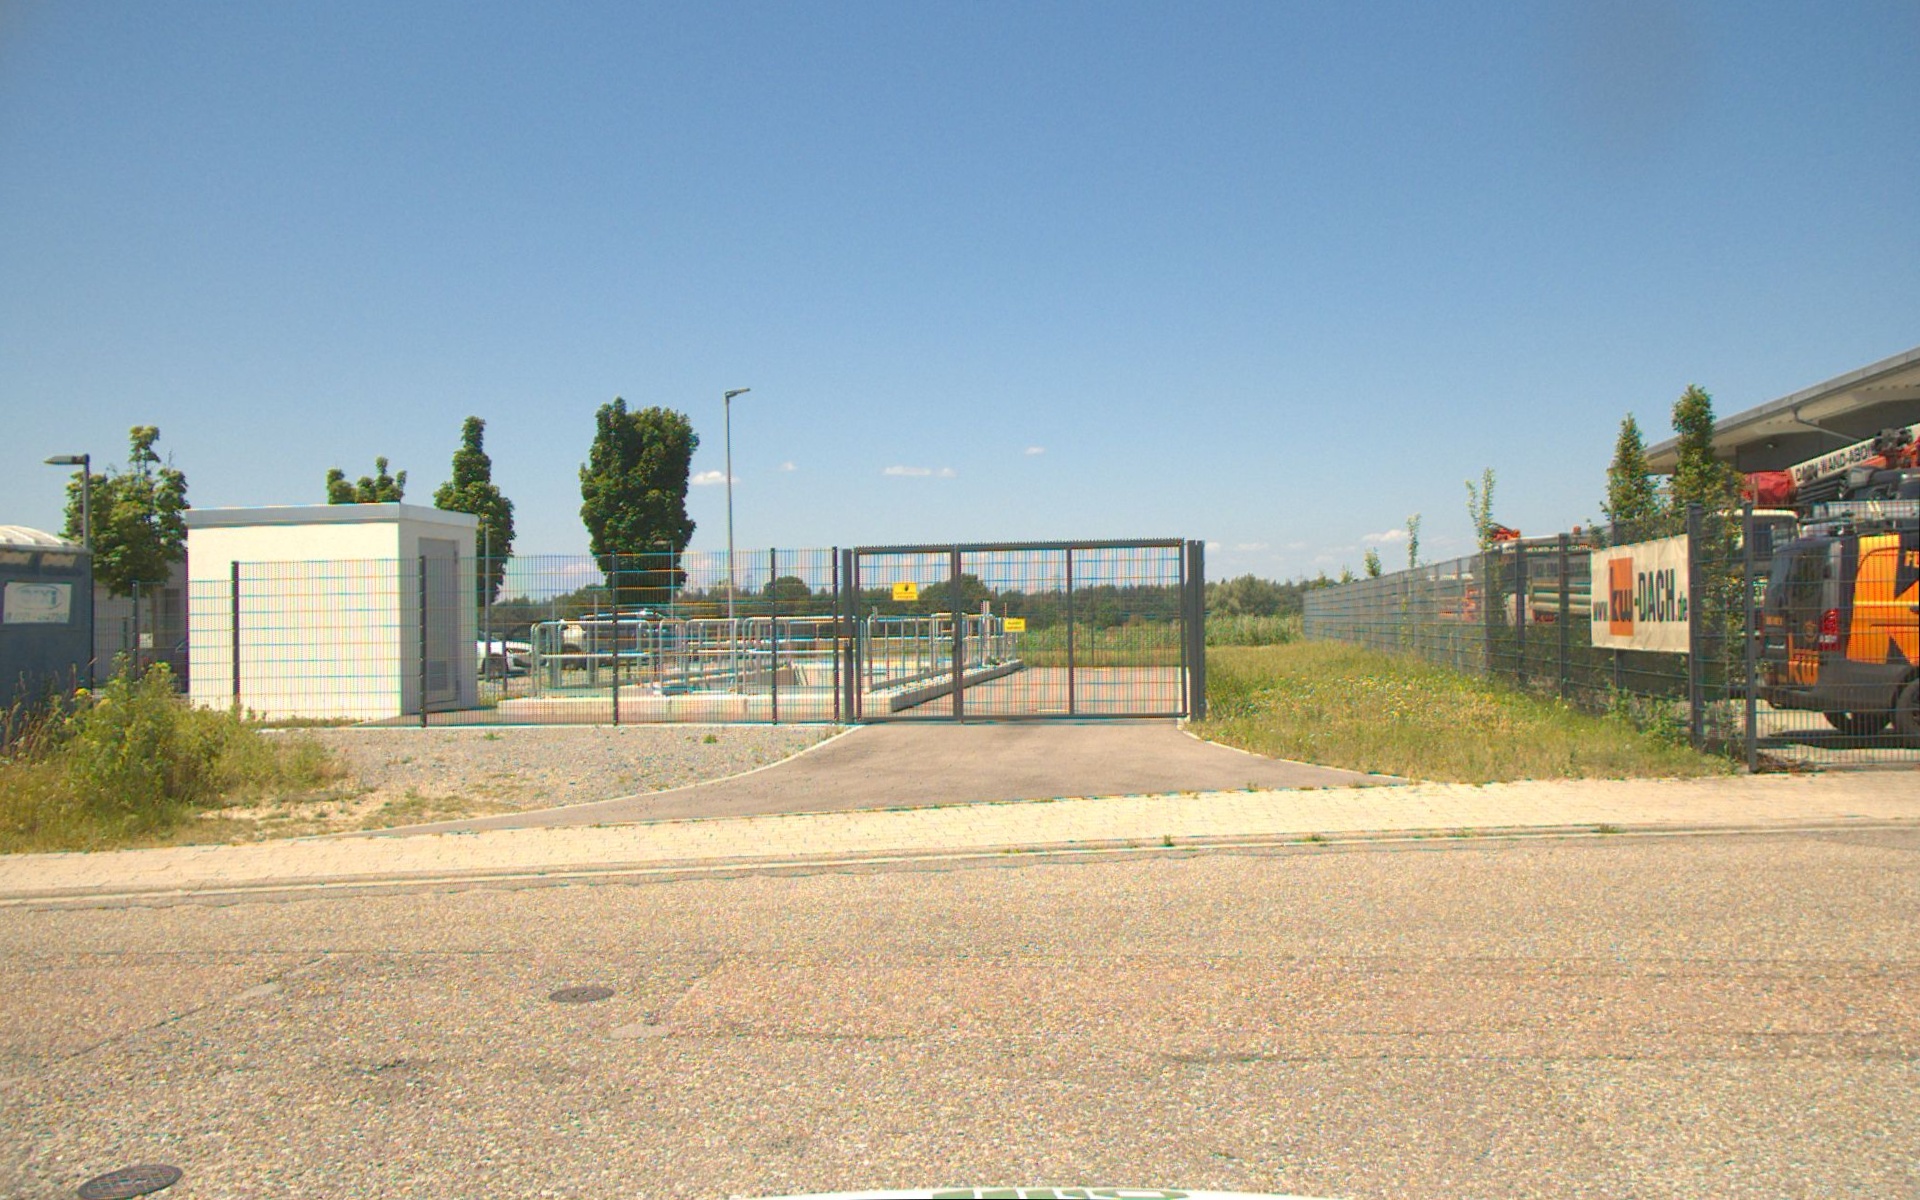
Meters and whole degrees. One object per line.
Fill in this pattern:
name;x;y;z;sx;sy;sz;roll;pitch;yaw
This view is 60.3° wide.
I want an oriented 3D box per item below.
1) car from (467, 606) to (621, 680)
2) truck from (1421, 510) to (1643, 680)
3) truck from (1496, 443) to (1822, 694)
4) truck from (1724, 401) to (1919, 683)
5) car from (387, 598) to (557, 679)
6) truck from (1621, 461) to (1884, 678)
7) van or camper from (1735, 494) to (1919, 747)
car;-12.222;1.264;48.737;3.902;2.049;2.002;-2;-1;9
truck;11.275;-0.048;33.295;2.859;2.989;6.941;-2;-1;8
truck;10.006;-0.357;24.533;2.668;3.115;6.941;-1;-1;8
truck;15.063;-0.827;26.801;2.859;3.998;6.941;-1;-1;8
car;-13.188;1.041;44.785;3.902;2.049;2.002;-2;-1;9
truck;16.260;-0.531;34.535;2.859;3.998;6.941;-1;-1;8
van or camper;10.053;0.125;15.256;4.831;2.201;2.002;-2;0;8
